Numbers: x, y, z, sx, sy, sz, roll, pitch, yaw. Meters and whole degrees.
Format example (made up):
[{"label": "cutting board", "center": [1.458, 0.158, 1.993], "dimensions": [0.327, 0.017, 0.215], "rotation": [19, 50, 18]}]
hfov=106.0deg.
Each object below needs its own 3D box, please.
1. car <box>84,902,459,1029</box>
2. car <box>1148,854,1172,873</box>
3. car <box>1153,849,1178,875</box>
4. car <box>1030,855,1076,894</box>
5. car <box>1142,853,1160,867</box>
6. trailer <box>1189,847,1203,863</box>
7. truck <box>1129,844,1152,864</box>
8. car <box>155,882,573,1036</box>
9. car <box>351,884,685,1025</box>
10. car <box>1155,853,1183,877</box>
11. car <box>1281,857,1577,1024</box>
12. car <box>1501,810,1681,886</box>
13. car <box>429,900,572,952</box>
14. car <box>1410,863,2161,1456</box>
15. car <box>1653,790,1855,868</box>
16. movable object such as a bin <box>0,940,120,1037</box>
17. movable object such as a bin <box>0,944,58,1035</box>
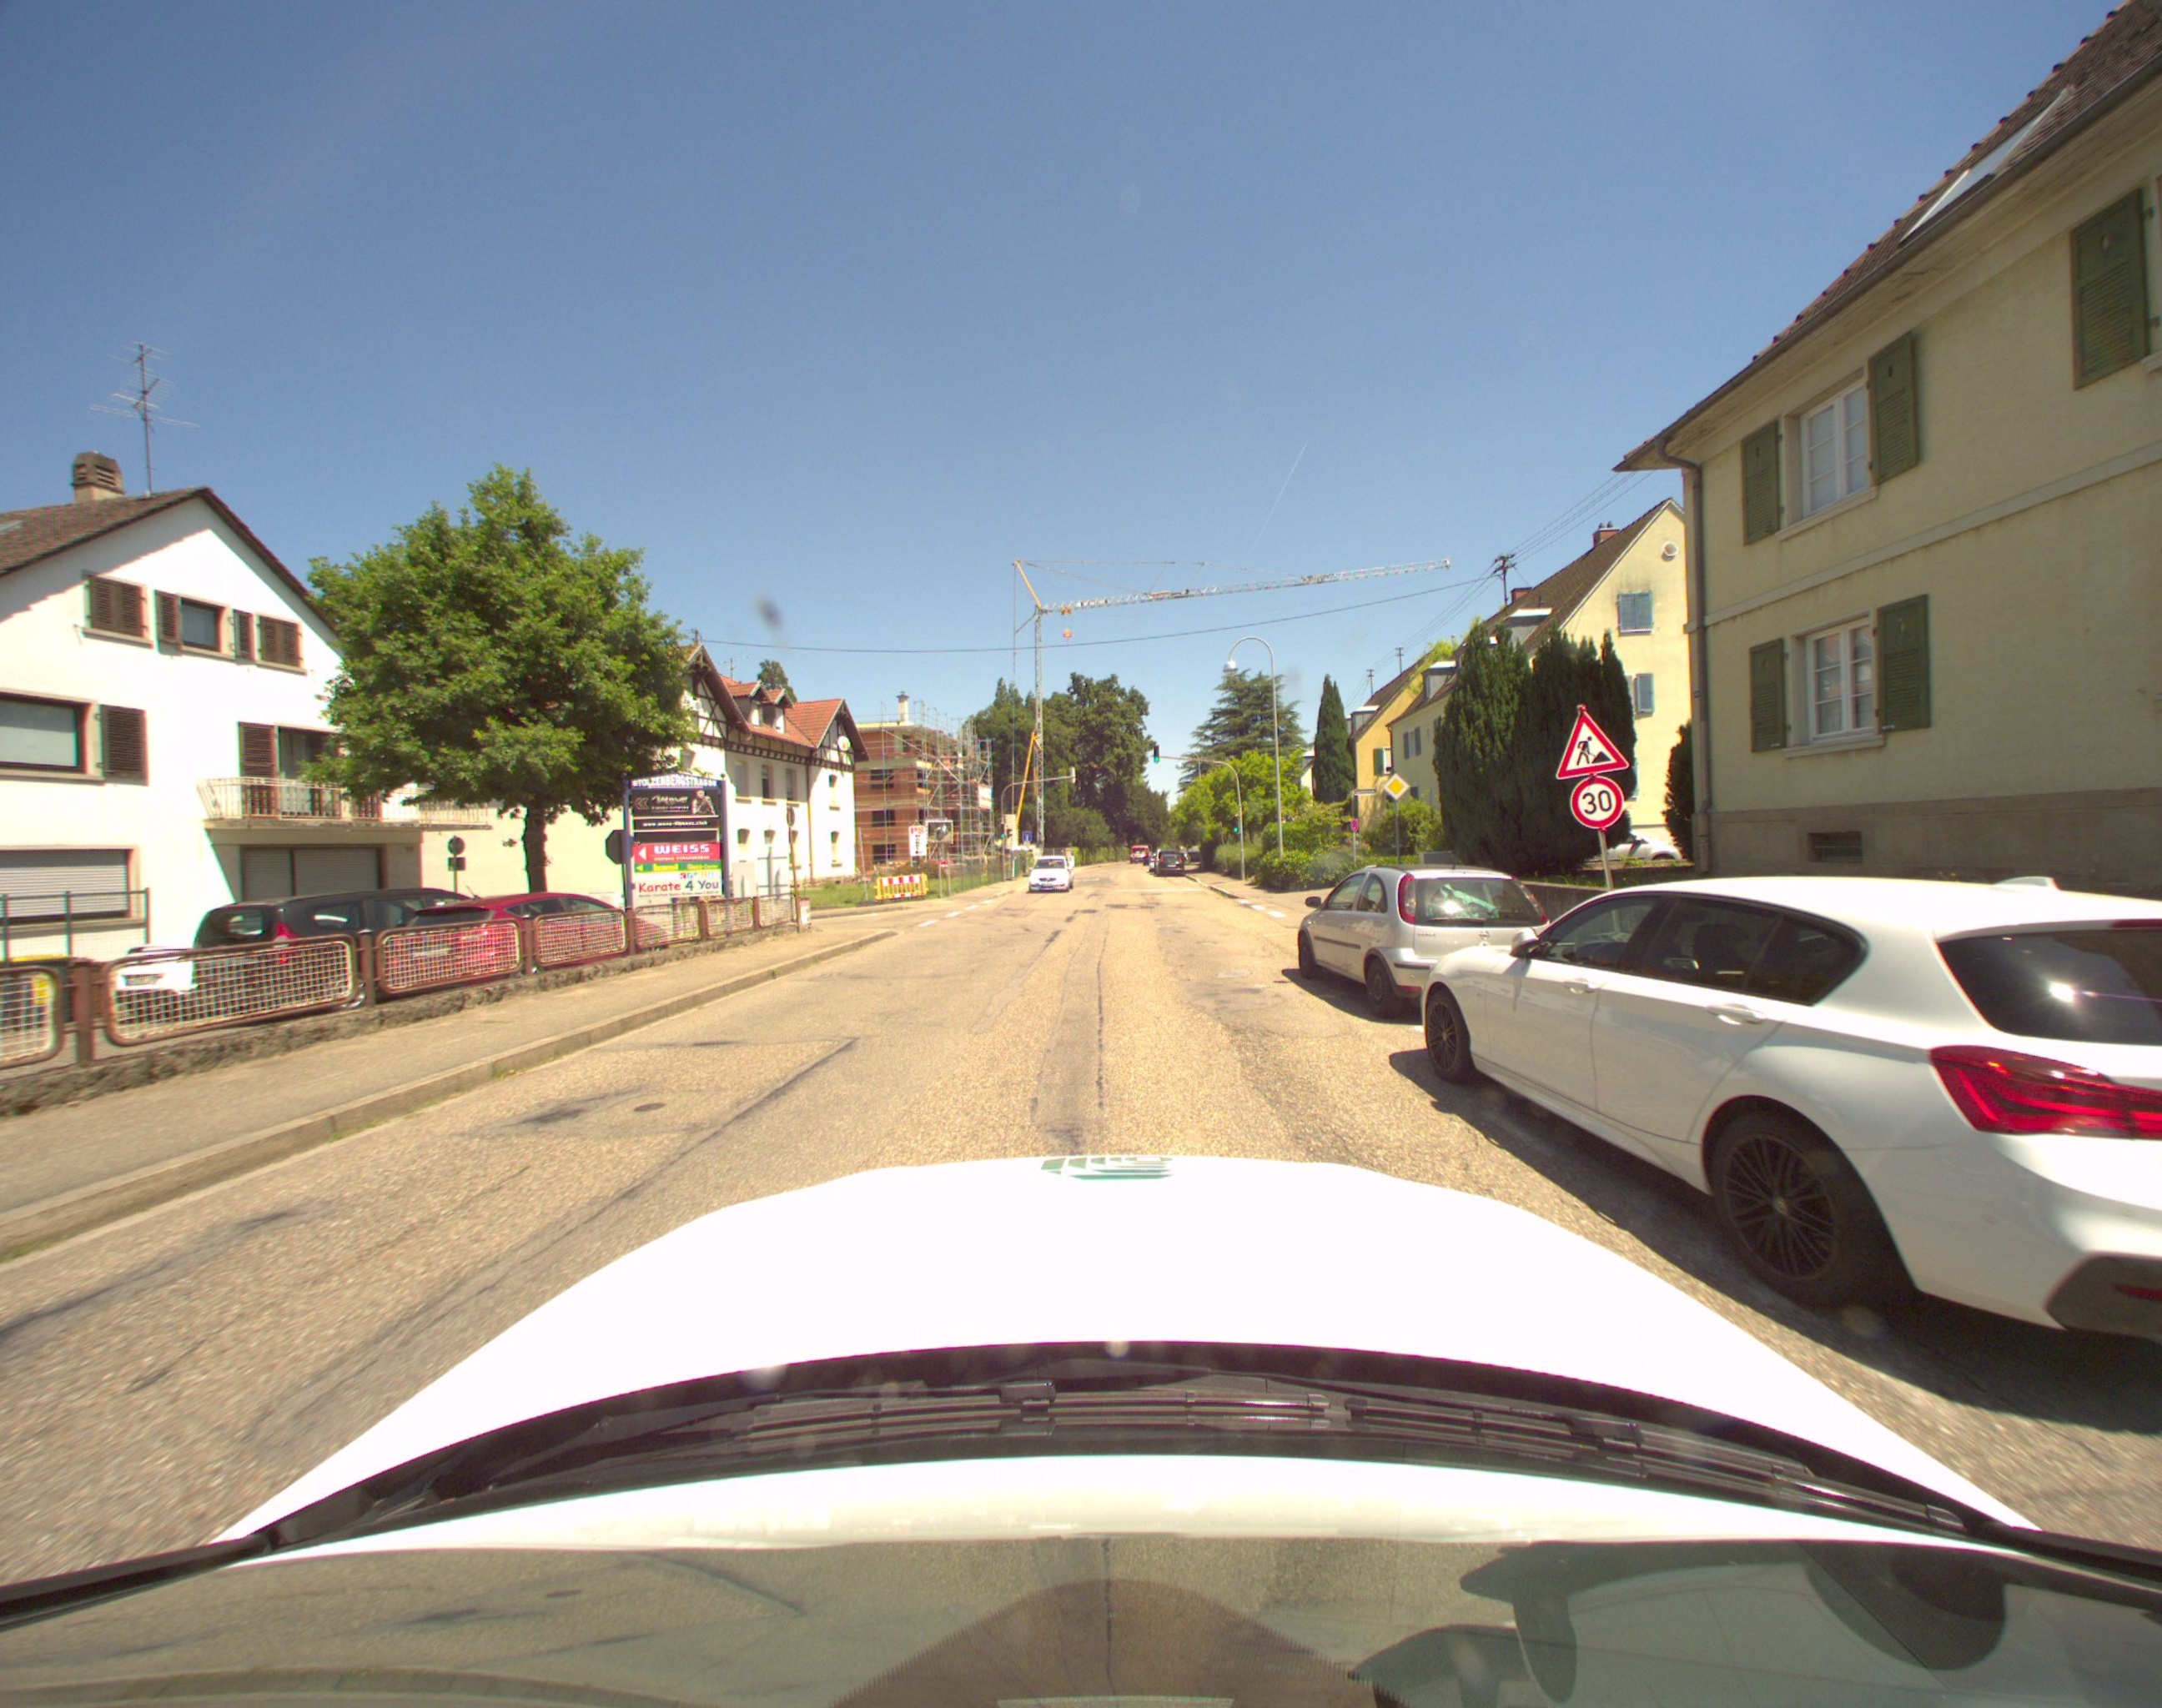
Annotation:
[{"label": "car", "center": [-12.809, 1.679, 13.317], "dimensions": [1.784, 1.434, 4.009], "rotation": [-4, 0, 8]}, {"label": "car", "center": [6.164, 0.702, 63.196], "dimensions": [1.652, 1.435, 4.137], "rotation": [0, 0, 8]}, {"label": "car", "center": [5.972, 0.546, 57.817], "dimensions": [1.653, 1.803, 4.209], "rotation": [1, 0, 6]}, {"label": "car", "center": [-1.226, 0.881, 36.901], "dimensions": [1.645, 1.562, 3.888], "rotation": [-3, 0, 3]}, {"label": "car", "center": [7.567, 0.648, 87.886], "dimensions": [1.784, 1.510, 4.009], "rotation": [0, 0, 8]}, {"label": "trailer", "center": [15.872, 0.109, 112.280], "dimensions": [1.668, 2.067, 3.721], "rotation": [0, 1, 12]}, {"label": "truck", "center": [7.528, -0.003, 102.438], "dimensions": [2.115, 2.339, 6.452], "rotation": [-2, 0, 9]}, {"label": "car", "center": [-10.532, 1.419, 12.584], "dimensions": [1.783, 1.678, 4.638], "rotation": [-4, 0, 11]}, {"label": "car", "center": [-8.030, 1.335, 12.174], "dimensions": [1.784, 1.518, 4.009], "rotation": [-4, 0, 8]}, {"label": "car", "center": [5.684, 0.699, 53.139], "dimensions": [1.622, 1.463, 4.020], "rotation": [1, 0, 4]}, {"label": "car", "center": [3.565, 0.778, 9.189], "dimensions": [1.661, 1.465, 4.000], "rotation": [0, 0, 0]}, {"label": "car", "center": [12.784, -0.148, 20.588], "dimensions": [3.387, 1.452, 1.616], "rotation": [-7, -1, 7]}, {"label": "car", "center": [-20.913, 2.582, 29.405], "dimensions": [3.963, 1.434, 1.805], "rotation": [-4, 0, 9]}, {"label": "car", "center": [3.234, 0.772, 3.998], "dimensions": [1.661, 1.435, 4.000], "rotation": [0, -1, 0]}, {"label": "car", "center": [16.687, -0.597, 20.335], "dimensions": [3.485, 1.452, 1.615], "rotation": [-7, 0, 6]}, {"label": "movable object such as a bin", "center": [-14.603, 1.891, 11.558], "dimensions": [0.879, 1.211, 0.907], "rotation": [-4, -1, 14]}, {"label": "movable object such as a bin", "center": [-15.585, 1.958, 11.619], "dimensions": [0.879, 1.211, 0.907], "rotation": [-4, -1, 14]}]
